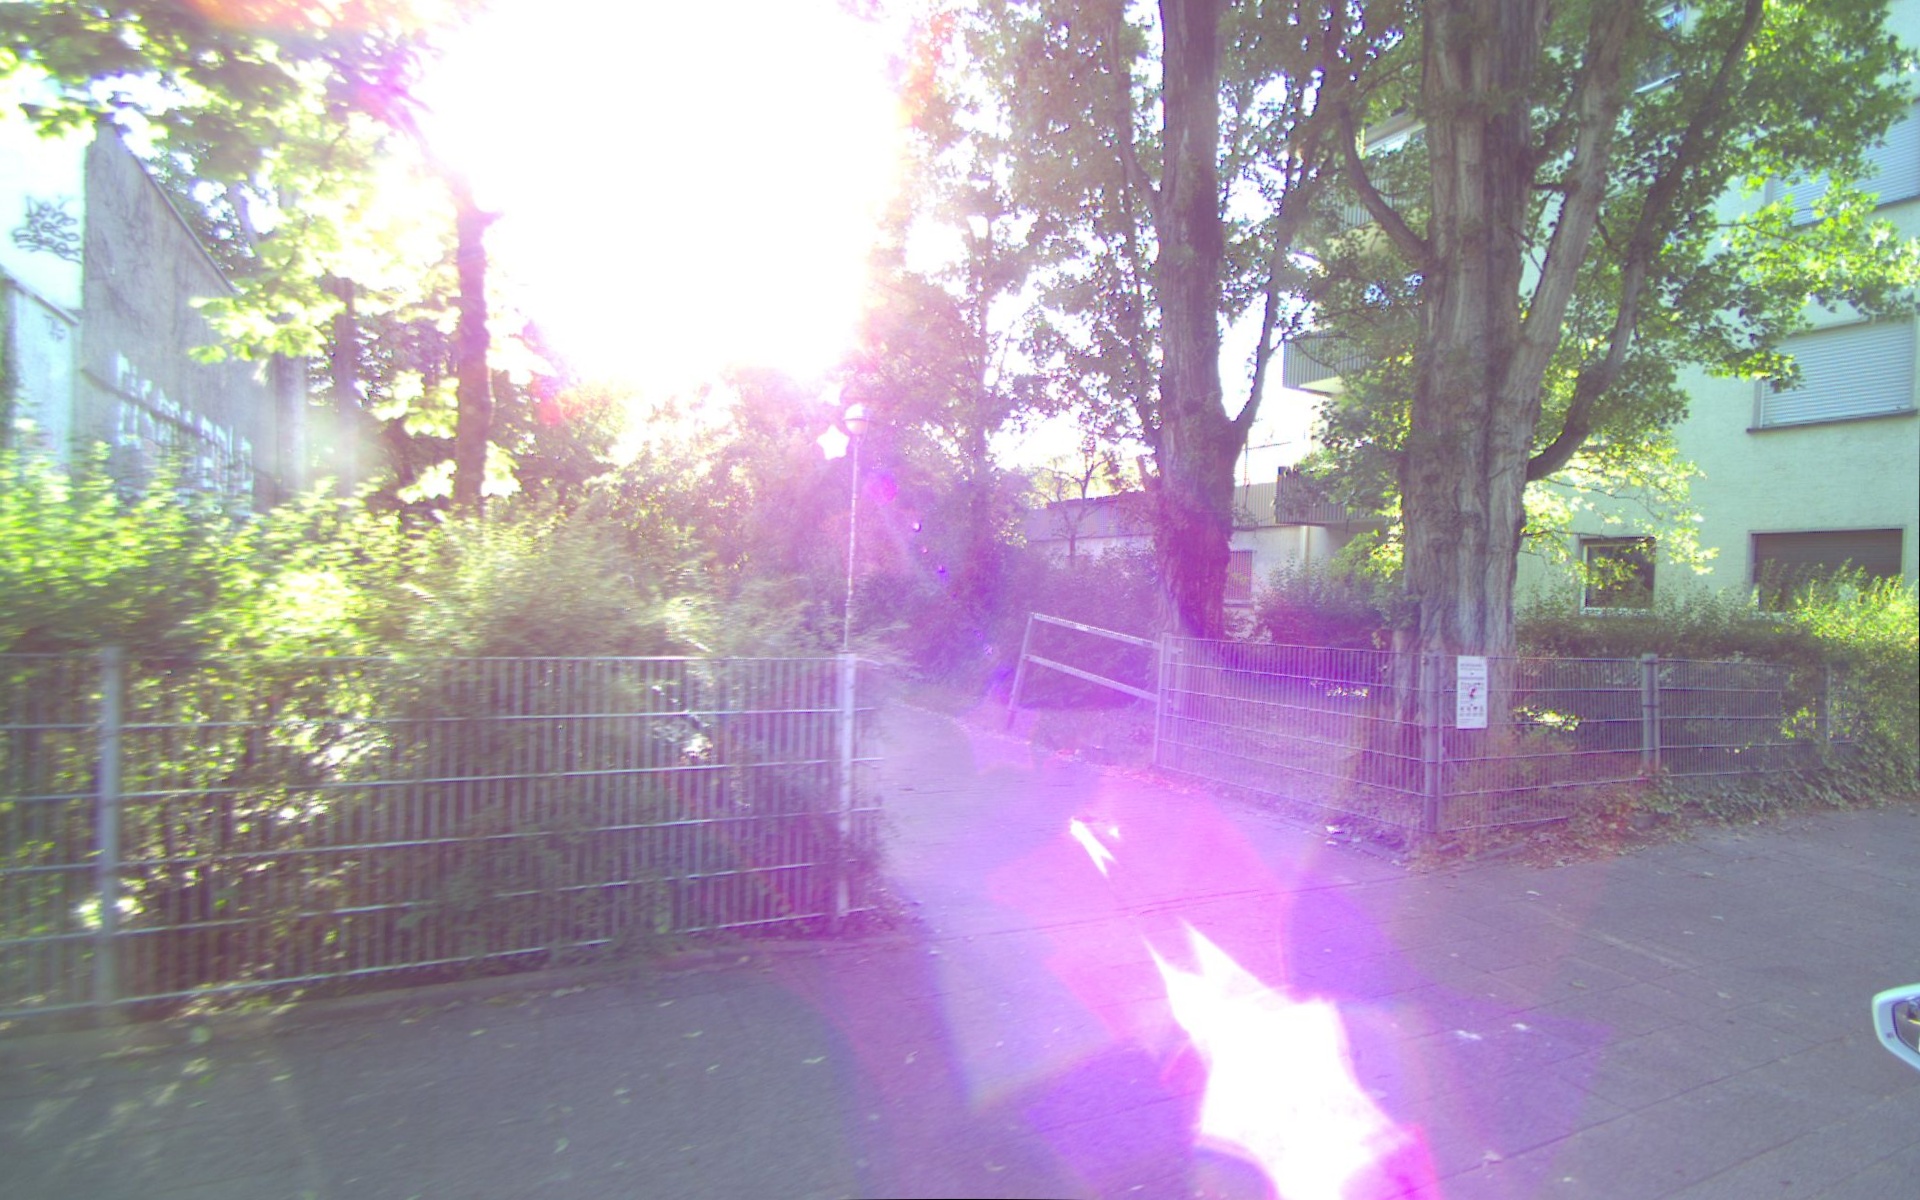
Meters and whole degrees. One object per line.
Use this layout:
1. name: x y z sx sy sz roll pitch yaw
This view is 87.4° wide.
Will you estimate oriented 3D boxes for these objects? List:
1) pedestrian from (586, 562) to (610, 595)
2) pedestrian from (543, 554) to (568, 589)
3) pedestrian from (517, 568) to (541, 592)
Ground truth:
1. pedestrian: -17.787 -1.051 49.354 0.753 1.603 0.766 3 1 37
2. pedestrian: -19.022 -1.342 47.181 0.753 1.603 0.766 3 1 37
3. pedestrian: -20.660 -0.943 48.179 0.753 1.105 0.766 3 1 37
